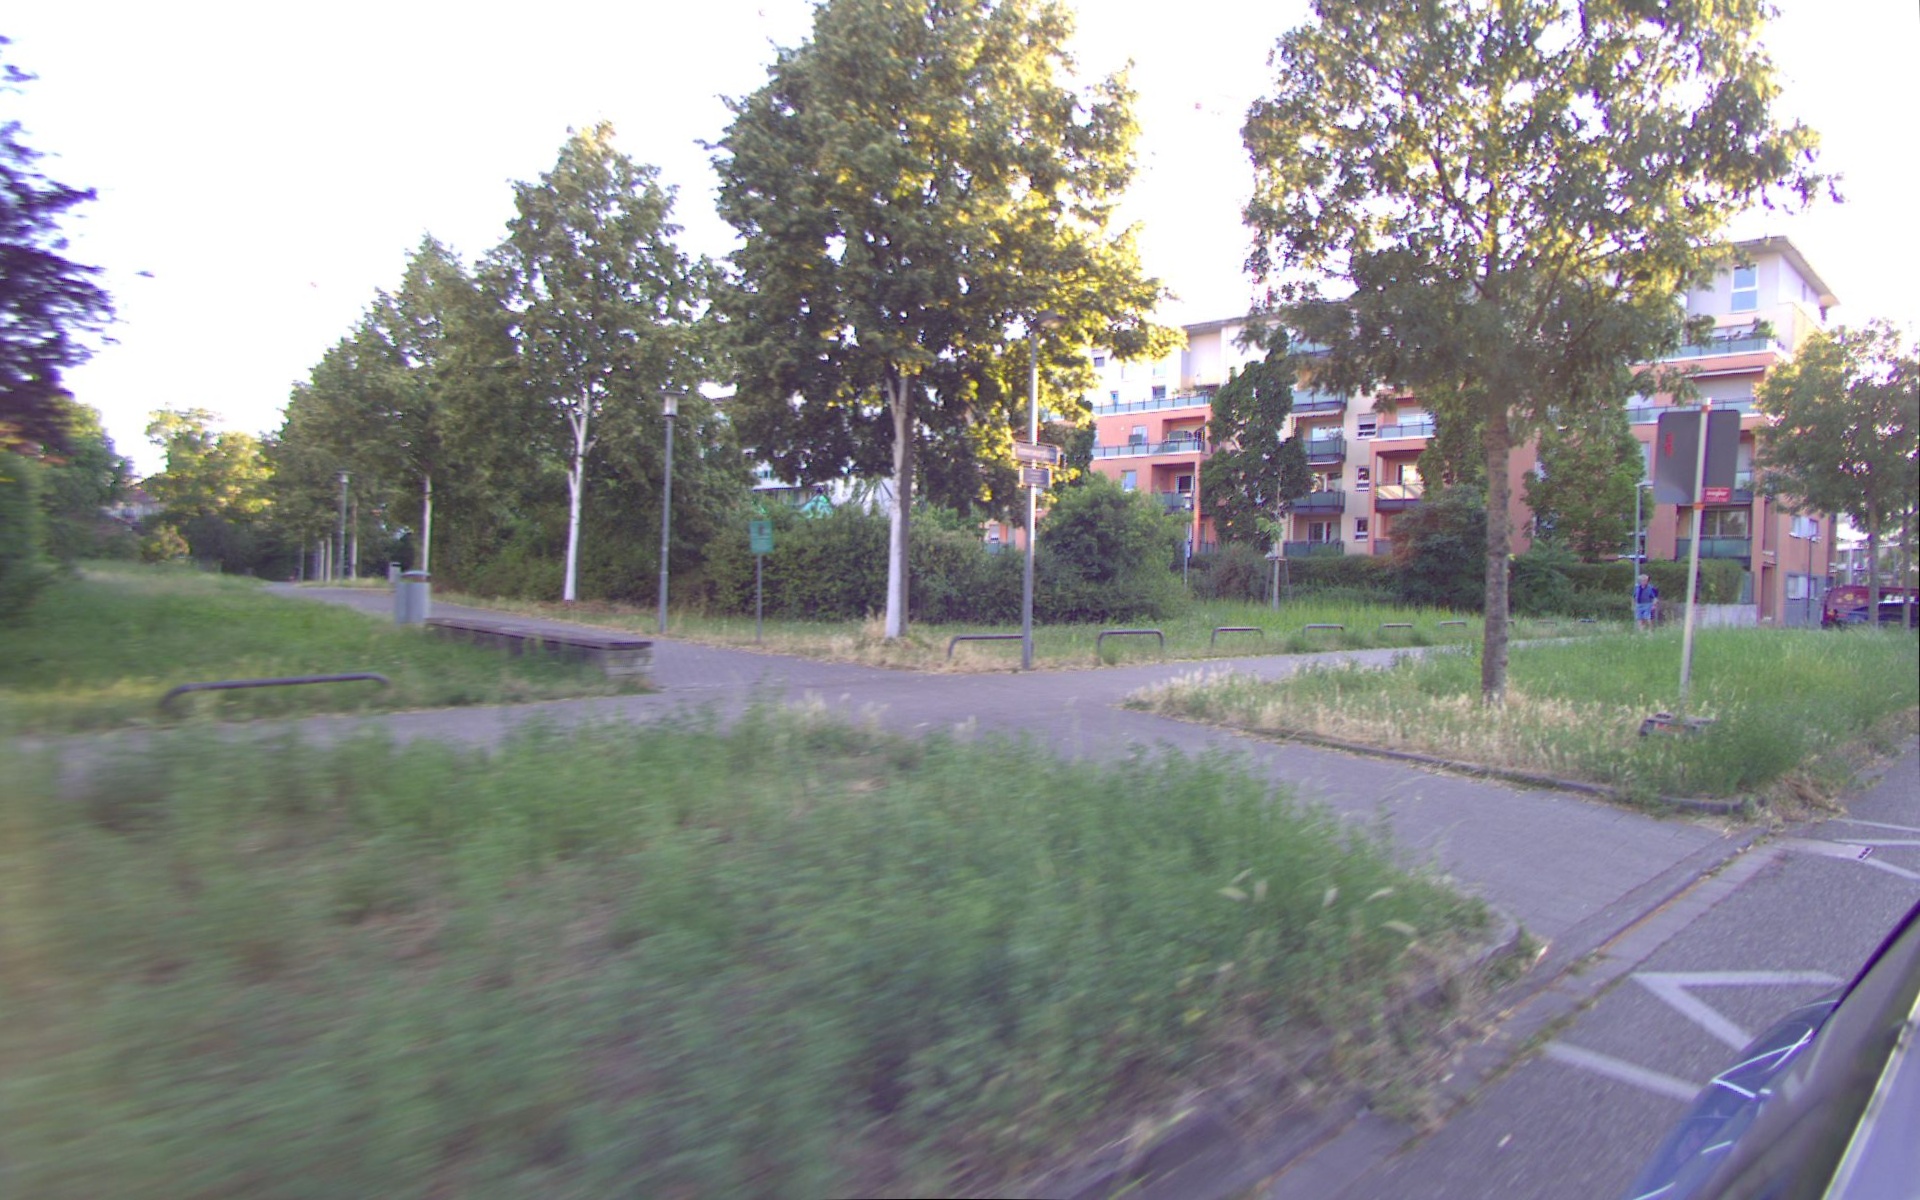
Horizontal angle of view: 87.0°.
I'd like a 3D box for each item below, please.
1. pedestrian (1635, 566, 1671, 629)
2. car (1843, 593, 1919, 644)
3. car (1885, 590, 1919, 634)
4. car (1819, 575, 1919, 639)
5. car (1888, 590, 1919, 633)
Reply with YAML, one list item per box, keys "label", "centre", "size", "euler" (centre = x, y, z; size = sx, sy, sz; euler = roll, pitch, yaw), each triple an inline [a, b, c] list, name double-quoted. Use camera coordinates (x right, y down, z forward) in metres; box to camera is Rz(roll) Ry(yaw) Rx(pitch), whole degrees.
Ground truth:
- label: "pedestrian"
  centre: [19.773, -0.077, 28.880]
  size: [0.687, 1.765, 0.670]
  euler: [1, 1, -41]
- label: "car"
  centre: [31.501, 0.616, 32.377]
  size: [1.779, 1.576, 4.679]
  euler: [1, 1, -40]
- label: "car"
  centre: [37.303, 0.558, 37.506]
  size: [1.761, 1.588, 4.226]
  euler: [1, 3, -40]
- label: "car"
  centre: [33.120, 0.248, 34.985]
  size: [1.980, 2.143, 4.932]
  euler: [1, 1, -39]
- label: "car"
  centre: [35.627, 0.499, 36.063]
  size: [1.587, 1.483, 3.534]
  euler: [1, 3, -40]
